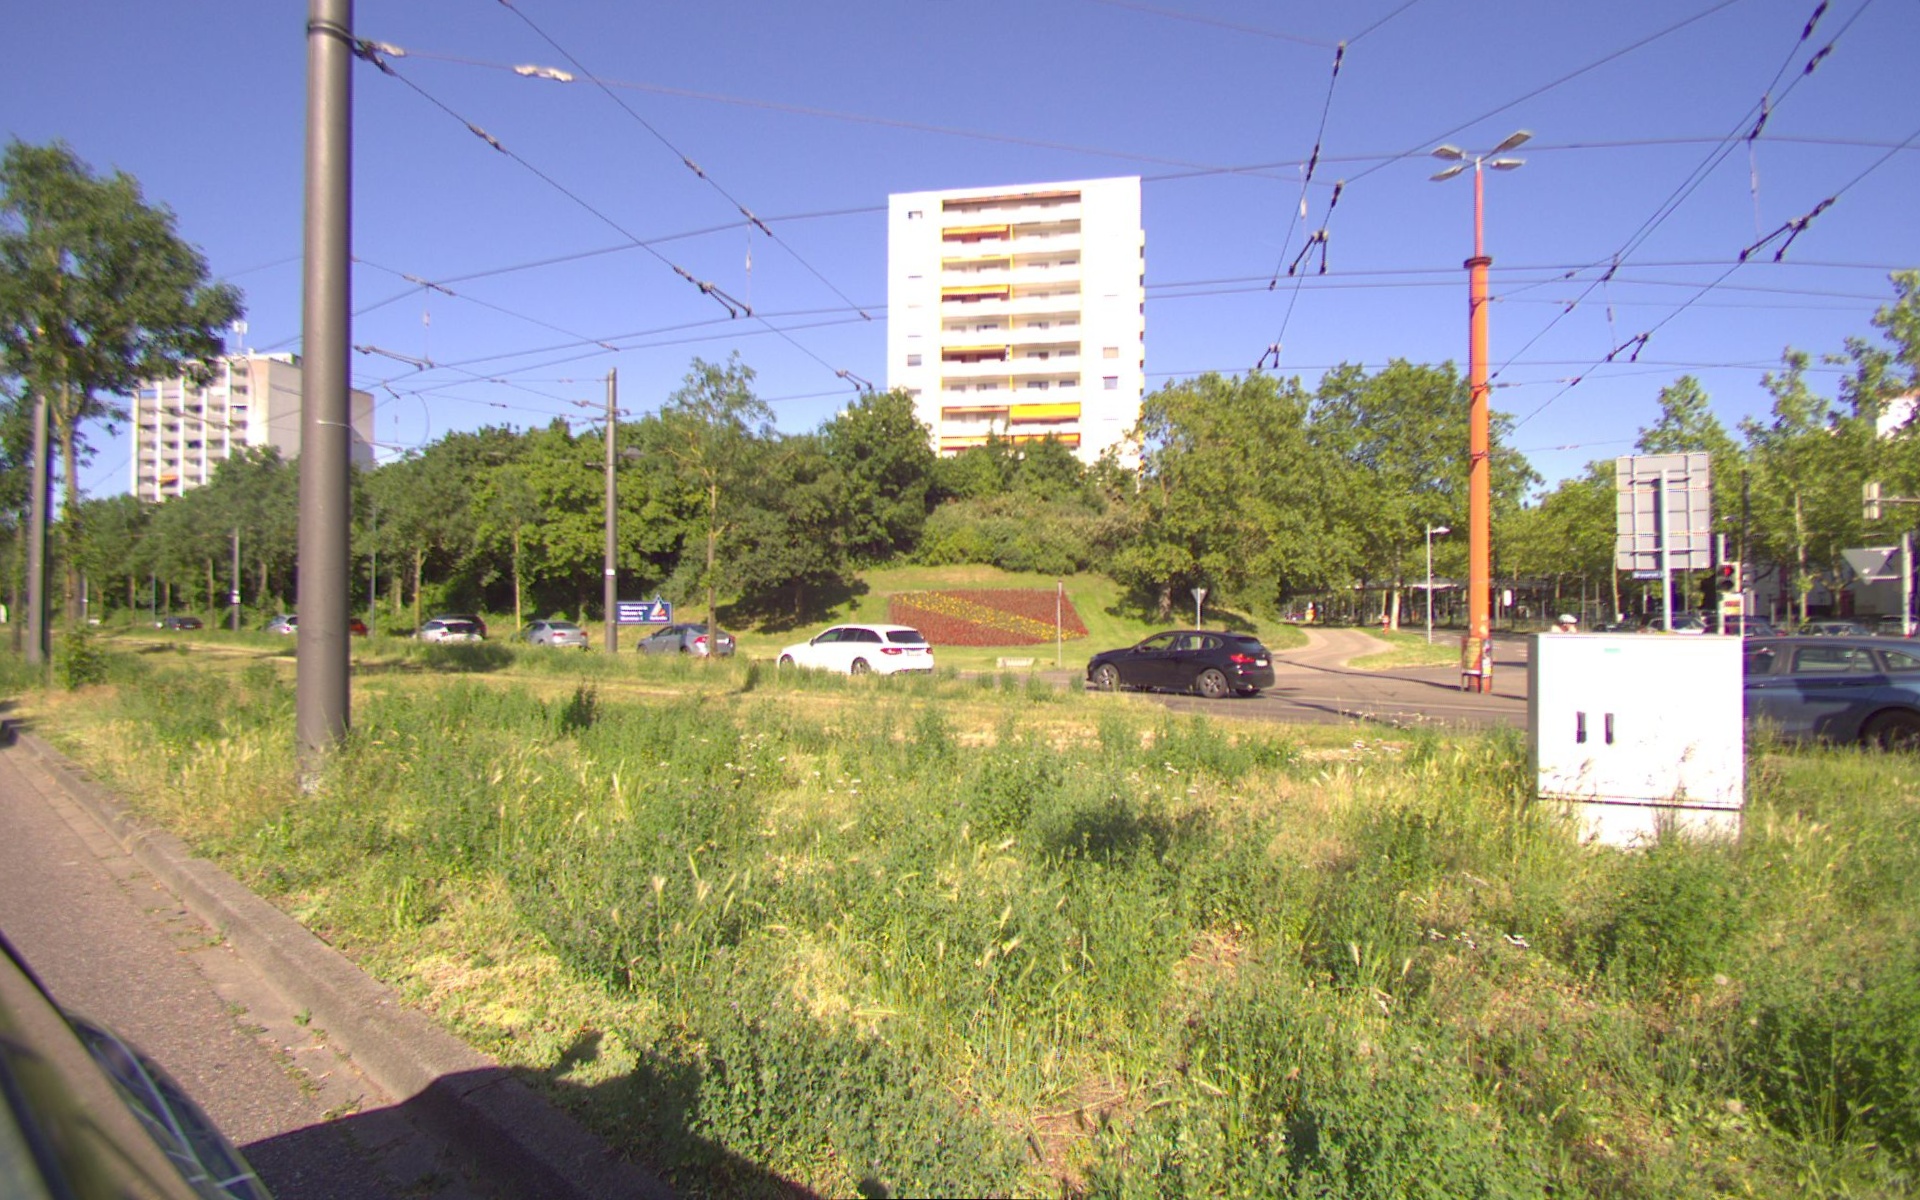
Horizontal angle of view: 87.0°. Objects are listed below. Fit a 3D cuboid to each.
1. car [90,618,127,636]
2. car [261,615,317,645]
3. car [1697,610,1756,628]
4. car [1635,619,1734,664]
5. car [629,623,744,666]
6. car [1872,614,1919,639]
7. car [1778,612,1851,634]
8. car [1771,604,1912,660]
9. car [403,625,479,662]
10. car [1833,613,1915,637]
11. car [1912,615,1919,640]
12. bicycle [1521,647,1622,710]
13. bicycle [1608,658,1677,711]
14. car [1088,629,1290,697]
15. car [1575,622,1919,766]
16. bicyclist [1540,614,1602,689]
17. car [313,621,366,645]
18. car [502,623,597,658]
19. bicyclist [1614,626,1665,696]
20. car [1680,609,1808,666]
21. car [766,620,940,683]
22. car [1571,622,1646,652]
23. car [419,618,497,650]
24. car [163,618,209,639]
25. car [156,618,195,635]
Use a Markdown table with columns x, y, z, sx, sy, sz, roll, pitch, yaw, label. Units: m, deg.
| x | y | z | sx | sy | sz | roll | pitch | yaw | label |
| --- | --- | --- | --- | --- | --- | --- | --- | --- | --- |
| -78.896 | 2.494 | 93.755 | 4.654 | 1.633 | 1.875 | -1 | 0 | 41 | car |
| -37.534 | 1.680 | 56.615 | 3.757 | 1.620 | 1.744 | -1 | -2 | 42 | car |
| 71.651 | 1.798 | 94.696 | 1.864 | 1.608 | 4.010 | 0 | 0 | -34 | car |
| 30.657 | 1.718 | 42.957 | 1.893 | 1.763 | 3.985 | -1 | 0 | 11 | car |
| -9.877 | 1.540 | 36.421 | 4.400 | 1.384 | 1.972 | -1 | 0 | 43 | car |
| 64.818 | 1.779 | 68.708 | 1.864 | 1.608 | 4.010 | 0 | 0 | -34 | car |
| 67.066 | 1.793 | 79.502 | 1.864 | 1.608 | 4.010 | 0 | 0 | -34 | car |
| 32.005 | 1.120 | 36.934 | 1.979 | 1.915 | 4.259 | -1 | 0 | 11 | car |
| -22.057 | 1.875 | 42.972 | 4.183 | 1.484 | 1.571 | -3 | -4 | 44 | car |
| 65.529 | 1.785 | 72.608 | 1.864 | 1.608 | 4.010 | 0 | 0 | -34 | car |
| 64.137 | 1.773 | 65.002 | 1.864 | 1.608 | 4.010 | 0 | 0 | -34 | car |
| 12.190 | 1.537 | 20.260 | 0.467 | 1.089 | 2.362 | -1 | 0 | -3 | bicycle |
| 13.320 | 1.633 | 19.790 | 0.364 | 0.889 | 1.623 | -1 | 0 | 5 | bicycle |
| 5.041 | 1.337 | 22.553 | 4.030 | 1.352 | 1.841 | -1 | -2 | 42 | car |
| 10.569 | 1.087 | 12.772 | 4.465 | 1.606 | 1.971 | -1 | -2 | 44 | car |
| 12.175 | 1.016 | 20.178 | 0.741 | 1.441 | 0.758 | -1 | 0 | -4 | bicyclist |
| -37.310 | 1.958 | 60.809 | 4.177 | 1.307 | 1.639 | -1 | 0 | 43 | car |
| -17.919 | 1.733 | 44.073 | 4.693 | 1.443 | 1.972 | -1 | -2 | 42 | car |
| 13.336 | 1.181 | 19.884 | 0.542 | 1.333 | 0.699 | -1 | 0 | 5 | bicyclist |
| 28.670 | 1.329 | 37.204 | 1.979 | 1.915 | 4.259 | -1 | 0 | 11 | car |
| -2.772 | 1.236 | 25.449 | 4.642 | 1.433 | 1.685 | -1 | -2 | 42 | car |
| 31.638 | 1.799 | 49.493 | 1.718 | 1.332 | 3.985 | -1 | 0 | 11 | car |
| -24.943 | 1.653 | 50.221 | 4.631 | 1.492 | 1.972 | -1 | 0 | 43 | car |
| -56.773 | 2.042 | 74.164 | 4.992 | 1.420 | 1.971 | -1 | 0 | 44 | car |
| -67.111 | 2.271 | 86.586 | 4.542 | 1.408 | 1.879 | -1 | 0 | 42 | car |
